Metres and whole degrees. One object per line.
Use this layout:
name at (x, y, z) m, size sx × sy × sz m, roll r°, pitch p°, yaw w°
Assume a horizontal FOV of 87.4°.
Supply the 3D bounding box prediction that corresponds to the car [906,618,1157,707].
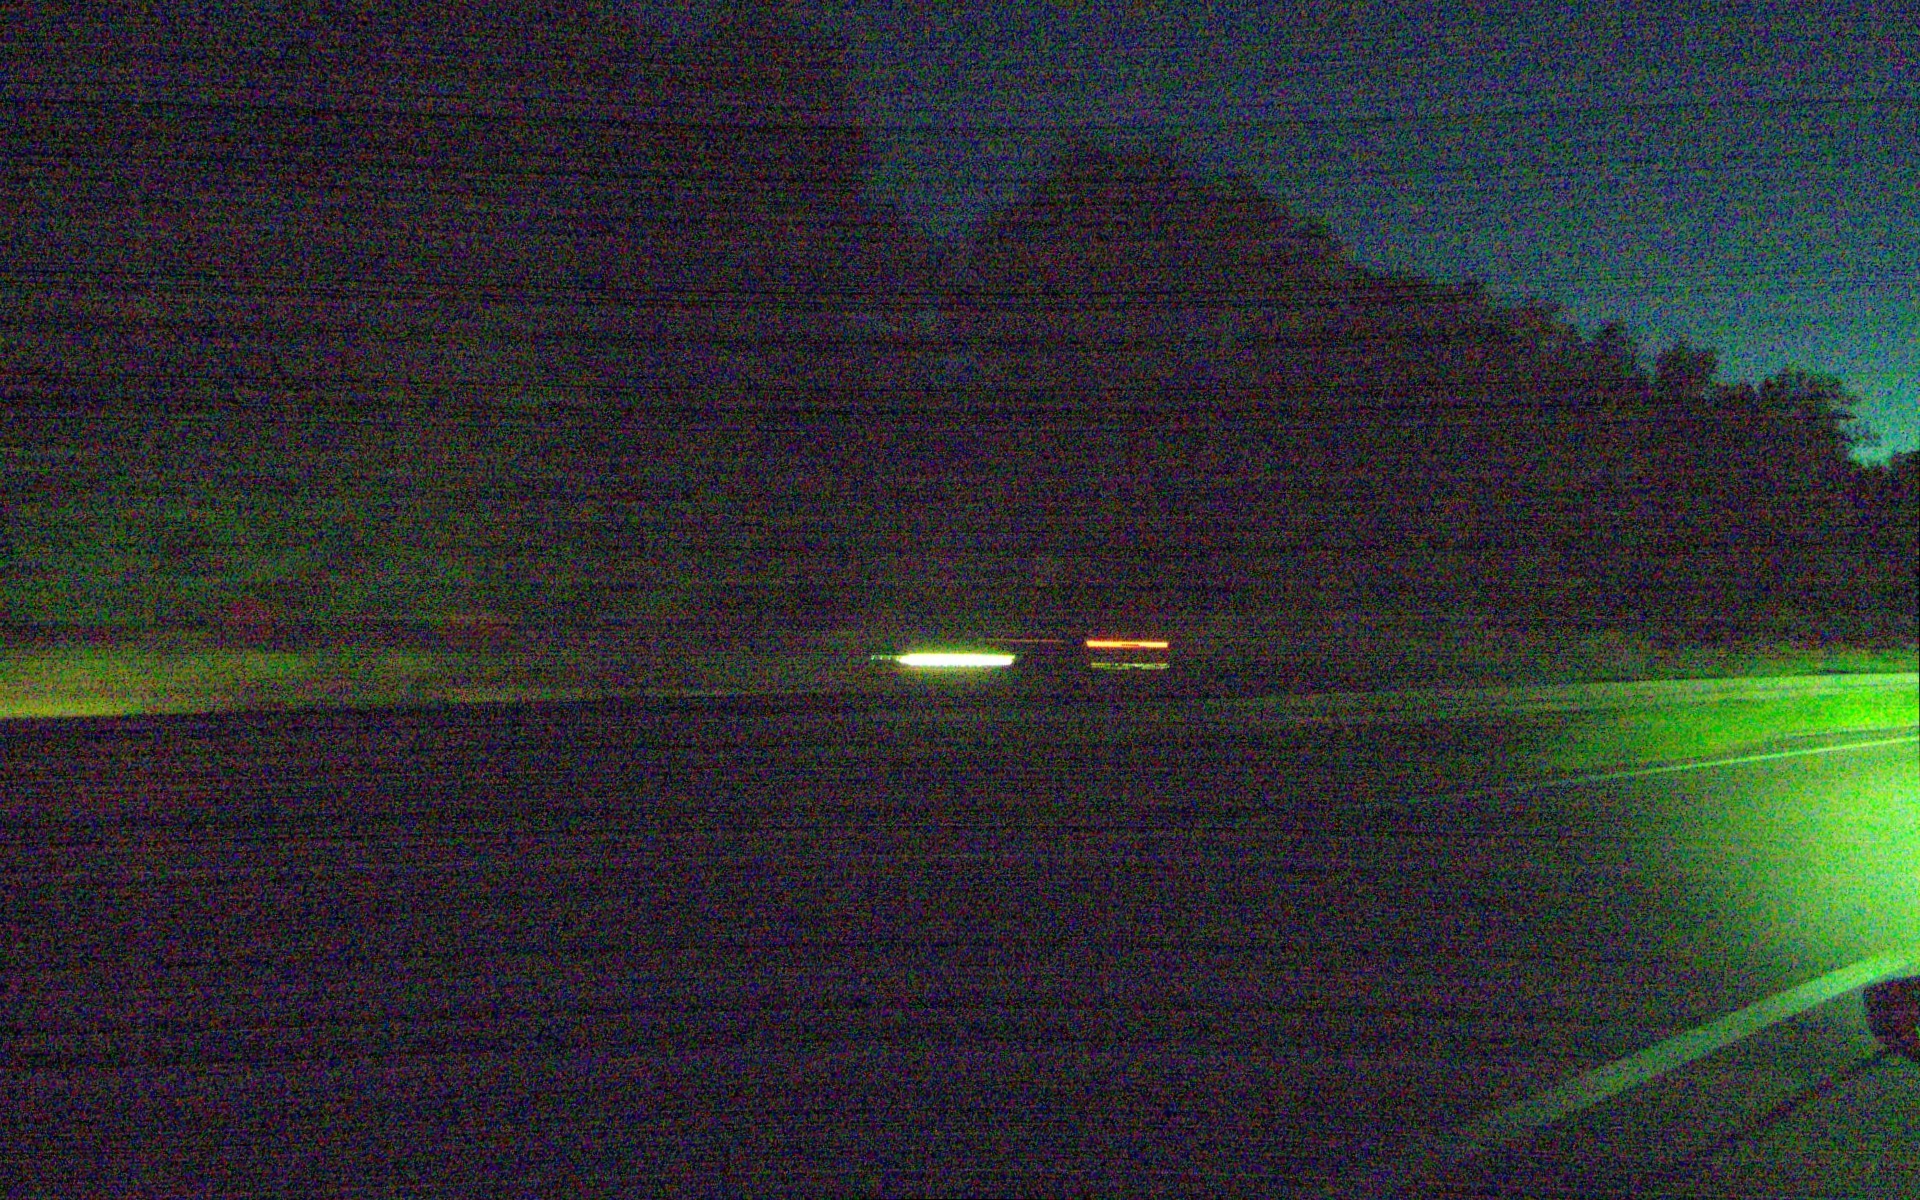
car at (1.344, 1.086, 18.561) m, size 4.284 × 1.476 × 1.949 m, roll 1°, pitch -1°, yaw -30°
